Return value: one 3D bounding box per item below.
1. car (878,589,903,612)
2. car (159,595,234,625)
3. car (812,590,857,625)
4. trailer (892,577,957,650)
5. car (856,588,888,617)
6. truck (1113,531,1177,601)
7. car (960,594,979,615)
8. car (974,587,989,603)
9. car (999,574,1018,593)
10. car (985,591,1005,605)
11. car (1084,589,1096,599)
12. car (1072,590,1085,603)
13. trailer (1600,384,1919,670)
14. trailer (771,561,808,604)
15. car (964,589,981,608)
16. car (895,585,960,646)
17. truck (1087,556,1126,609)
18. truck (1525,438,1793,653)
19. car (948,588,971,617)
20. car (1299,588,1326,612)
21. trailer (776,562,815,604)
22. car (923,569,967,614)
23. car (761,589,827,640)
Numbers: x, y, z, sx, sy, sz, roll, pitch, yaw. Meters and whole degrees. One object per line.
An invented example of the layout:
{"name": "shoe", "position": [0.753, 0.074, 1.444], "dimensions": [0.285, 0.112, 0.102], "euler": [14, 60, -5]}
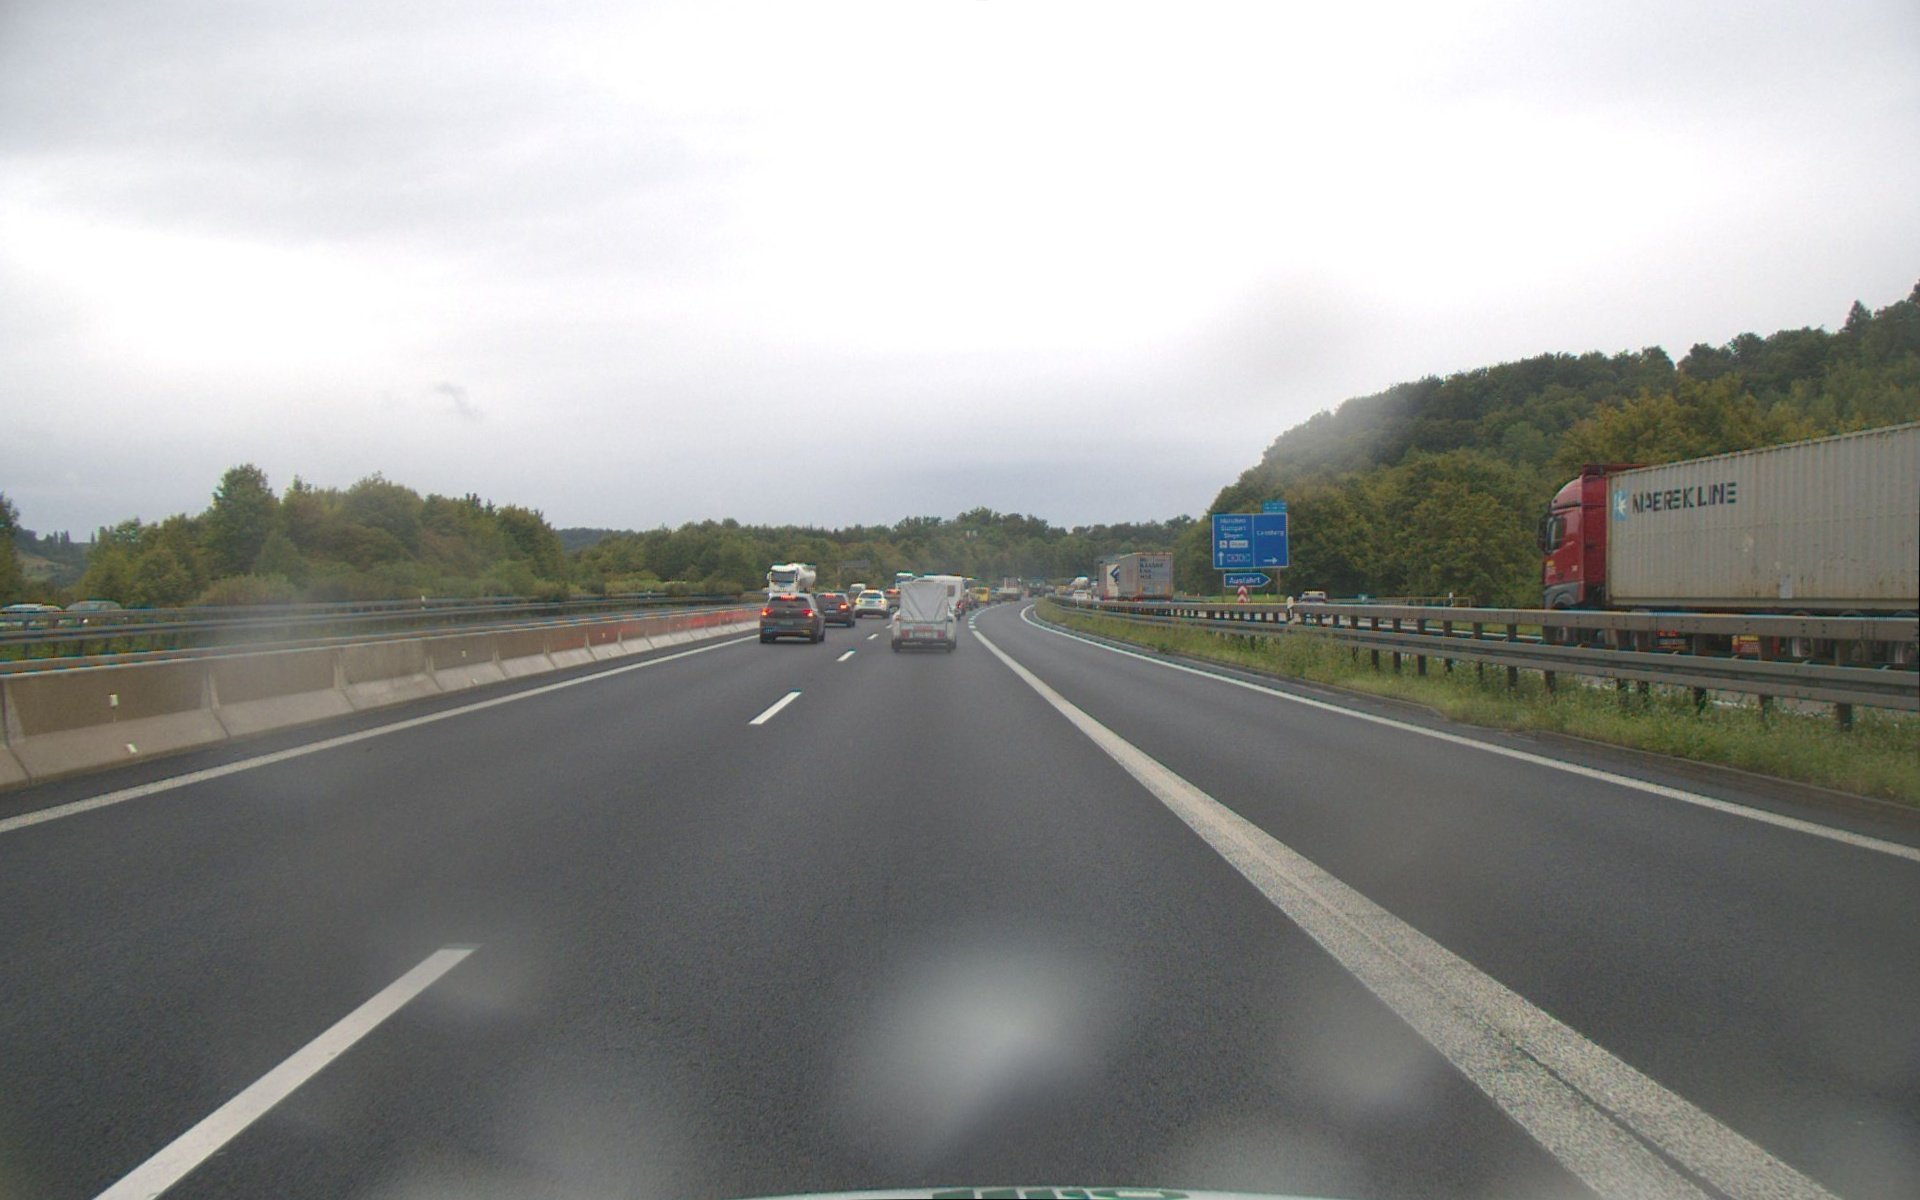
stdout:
{"name": "car", "position": [-5.043, 0.036, 120.966], "dimensions": [1.739, 1.669, 4.042], "euler": [0, 0, -1]}
{"name": "car", "position": [-39.076, 0.518, 84.773], "dimensions": [1.782, 1.481, 4.775], "euler": [0, 0, -2]}
{"name": "car", "position": [-5.468, 0.324, 72.401], "dimensions": [1.729, 1.481, 3.999], "euler": [0, 0, -1]}
{"name": "trailer", "position": [-0.913, 0.343, 43.976], "dimensions": [1.641, 1.844, 3.999], "euler": [0, 0, -1]}
{"name": "car", "position": [-5.200, 0.147, 97.601], "dimensions": [1.739, 1.669, 4.042], "euler": [0, 0, -1]}
{"name": "truck", "position": [13.161, -2.327, 118.872], "dimensions": [3.149, 4.748, 13.032], "euler": [0, 0, 0]}
{"name": "car", "position": [0.848, 0.378, 149.407], "dimensions": [1.641, 1.844, 4.000], "euler": [0, 0, 1]}
{"name": "car", "position": [2.523, -0.601, 192.564], "dimensions": [1.640, 1.844, 4.002], "euler": [0, 0, 3]}
{"name": "car", "position": [6.980, -2.335, 237.409], "dimensions": [2.463, 2.620, 5.314], "euler": [0, 0, 3]}
{"name": "car", "position": [4.439, -0.232, 208.617], "dimensions": [1.994, 1.712, 4.003], "euler": [0, 0, 8]}
{"name": "car", "position": [19.361, -0.853, 246.337], "dimensions": [1.640, 1.481, 4.003], "euler": [0, 0, 6]}
{"name": "car", "position": [14.615, -0.423, 203.951], "dimensions": [1.640, 1.481, 4.002], "euler": [0, 0, 3]}
{"name": "trailer", "position": [14.381, -0.998, 26.936], "dimensions": [2.552, 3.962, 12.483], "euler": [0, 0, -3]}
{"name": "trailer", "position": [-15.368, -1.525, 149.349], "dimensions": [2.582, 3.780, 6.491], "euler": [0, 0, 0]}
{"name": "car", "position": [1.305, -0.143, 165.099], "dimensions": [1.641, 1.844, 4.000], "euler": [0, 0, 1]}
{"name": "car", "position": [-0.895, 0.433, 47.754], "dimensions": [1.781, 1.644, 4.777], "euler": [0, 0, 0]}
{"name": "truck", "position": [13.888, -1.581, 157.633], "dimensions": [3.148, 4.748, 13.037], "euler": [0, 0, 3]}
{"name": "truck", "position": [14.077, -1.007, 33.908], "dimensions": [2.564, 3.952, 6.388], "euler": [0, 0, -3]}
{"name": "car", "position": [-0.050, 0.171, 121.512], "dimensions": [1.641, 2.103, 4.000], "euler": [0, 0, 0]}
{"name": "car", "position": [22.017, 0.019, 103.247], "dimensions": [1.640, 1.481, 4.003], "euler": [0, 0, 13]}
{"name": "trailer", "position": [-15.398, -1.512, 155.401], "dimensions": [2.582, 3.801, 10.810], "euler": [0, 0, 0]}
{"name": "car", "position": [-0.877, -0.489, 99.426], "dimensions": [2.456, 2.630, 5.700], "euler": [0, 0, 1]}
{"name": "car", "position": [-4.951, 0.422, 49.682], "dimensions": [1.642, 1.481, 3.999], "euler": [0, 0, -1]}
